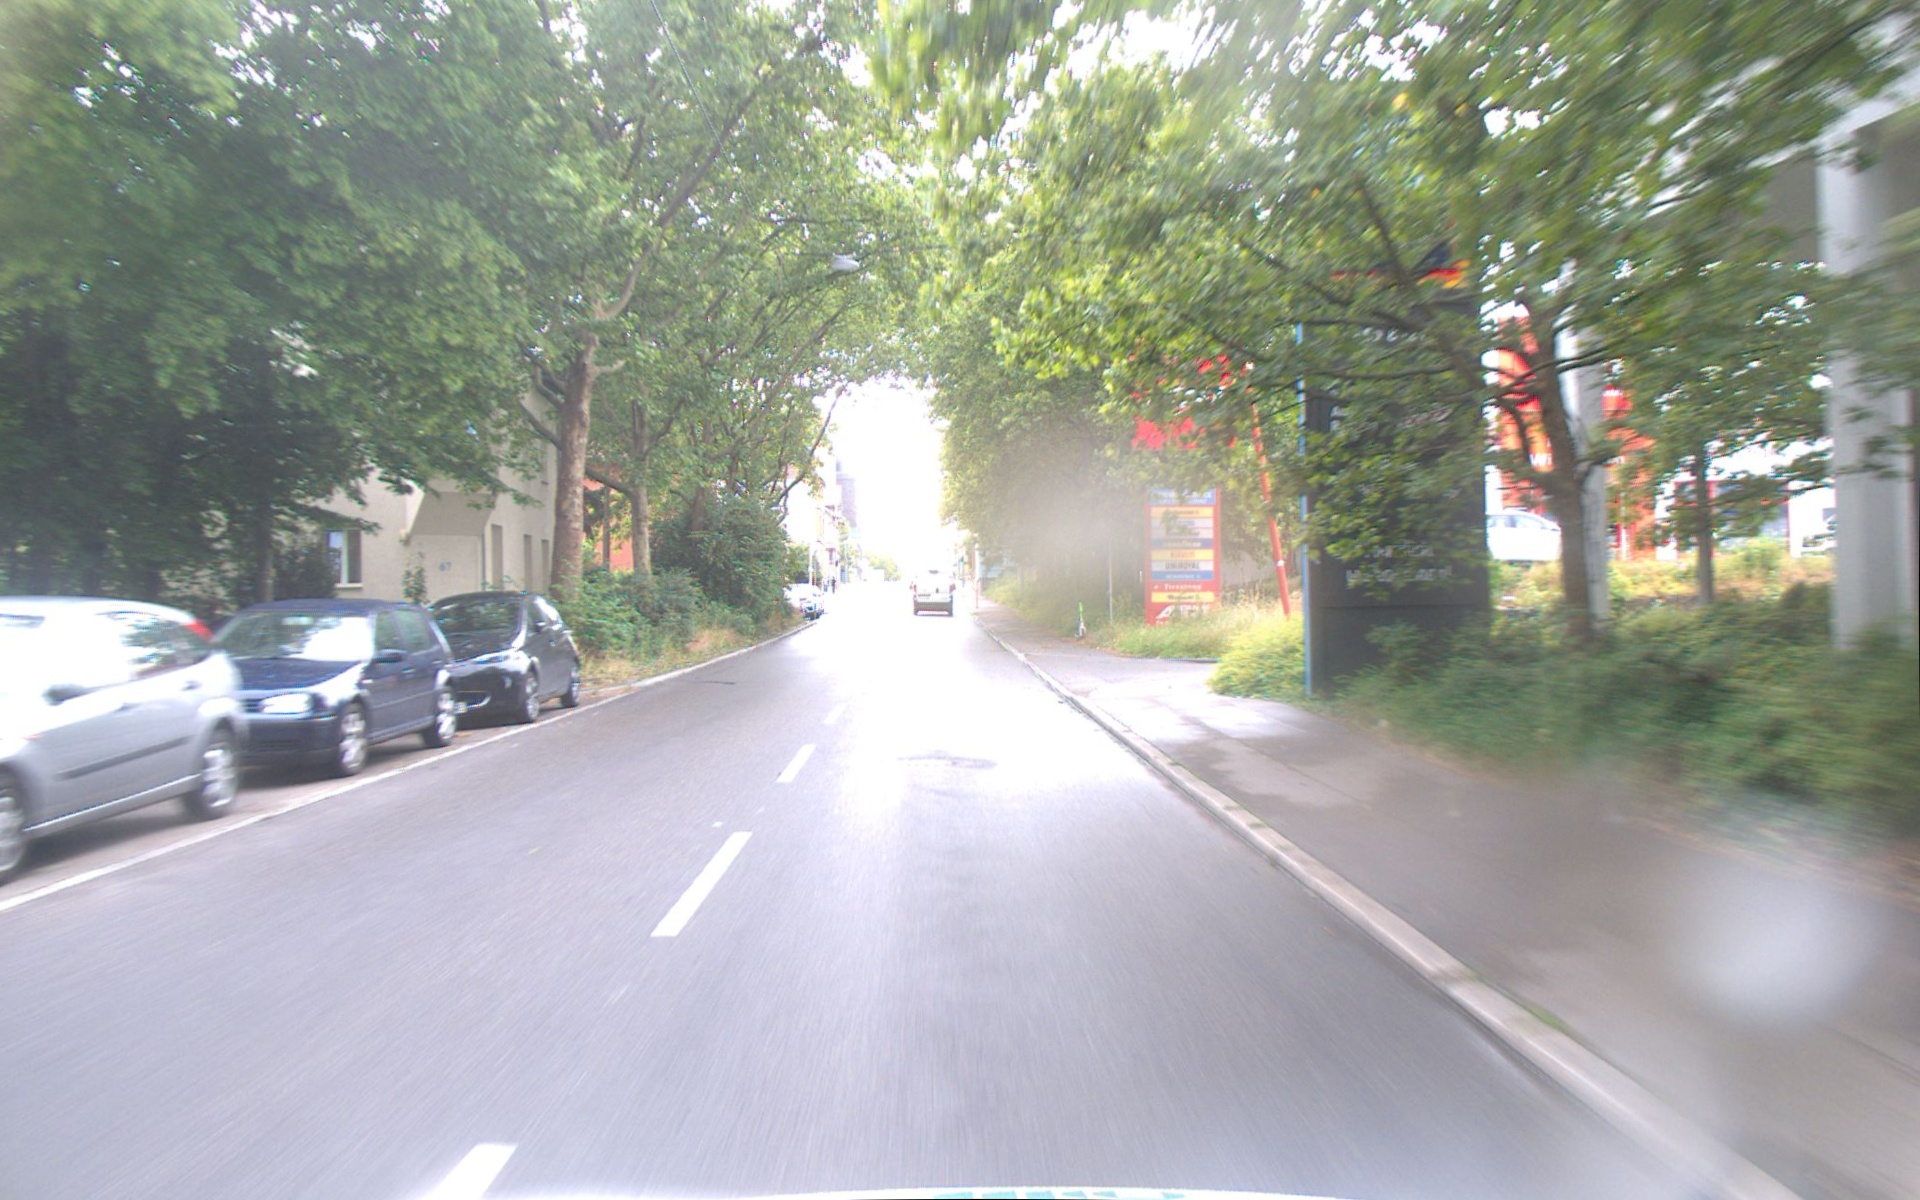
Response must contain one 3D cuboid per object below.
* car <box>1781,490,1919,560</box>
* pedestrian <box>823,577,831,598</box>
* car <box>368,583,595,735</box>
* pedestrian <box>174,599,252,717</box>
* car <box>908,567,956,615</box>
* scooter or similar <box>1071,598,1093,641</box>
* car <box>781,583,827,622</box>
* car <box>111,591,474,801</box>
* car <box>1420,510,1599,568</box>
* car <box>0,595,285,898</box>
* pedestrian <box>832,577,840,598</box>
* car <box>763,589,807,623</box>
[{"bbox_3d":[25.686,-2.092,46.158,4.676,1.814,1.913,-1,0,-5],"label":"car"},{"bbox_3d":[-13.139,-1.269,163.801,0.657,2.049,0.942,0,0,3],"label":"pedestrian"},{"bbox_3d":[-5.757,0.653,20.369,1.615,1.564,4.017,-4,0,-2],"label":"car"},{"bbox_3d":[-10.742,0.843,23.826,0.575,1.648,1.021,2,-3,0],"label":"pedestrian"},{"bbox_3d":[-1.371,-0.439,83.188,2.288,2.270,3.999,-2,-1,-1],"label":"car"},{"bbox_3d":[3.366,0.557,45.726,0.417,1.162,1.528,1,-2,-3],"label":"scooter or similar"},{"bbox_3d":[-7.043,0.101,74.831,1.657,1.568,4.117,-3,1,-1],"label":"car"},{"bbox_3d":[-5.767,0.741,14.818,1.638,1.534,3.873,-3,0,-1],"label":"car"},{"bbox_3d":[14.165,-1.558,42.785,4.016,1.400,1.903,0,0,0],"label":"car"},{"bbox_3d":[-5.677,0.739,9.782,1.638,1.534,4.123,0,0,0],"label":"car"},{"bbox_3d":[-12.291,-1.265,163.779,0.657,2.049,0.942,0,0,3],"label":"pedestrian"},{"bbox_3d":[-7.313,0.233,69.480,1.606,1.397,3.757,0,0,-3],"label":"car"}]
